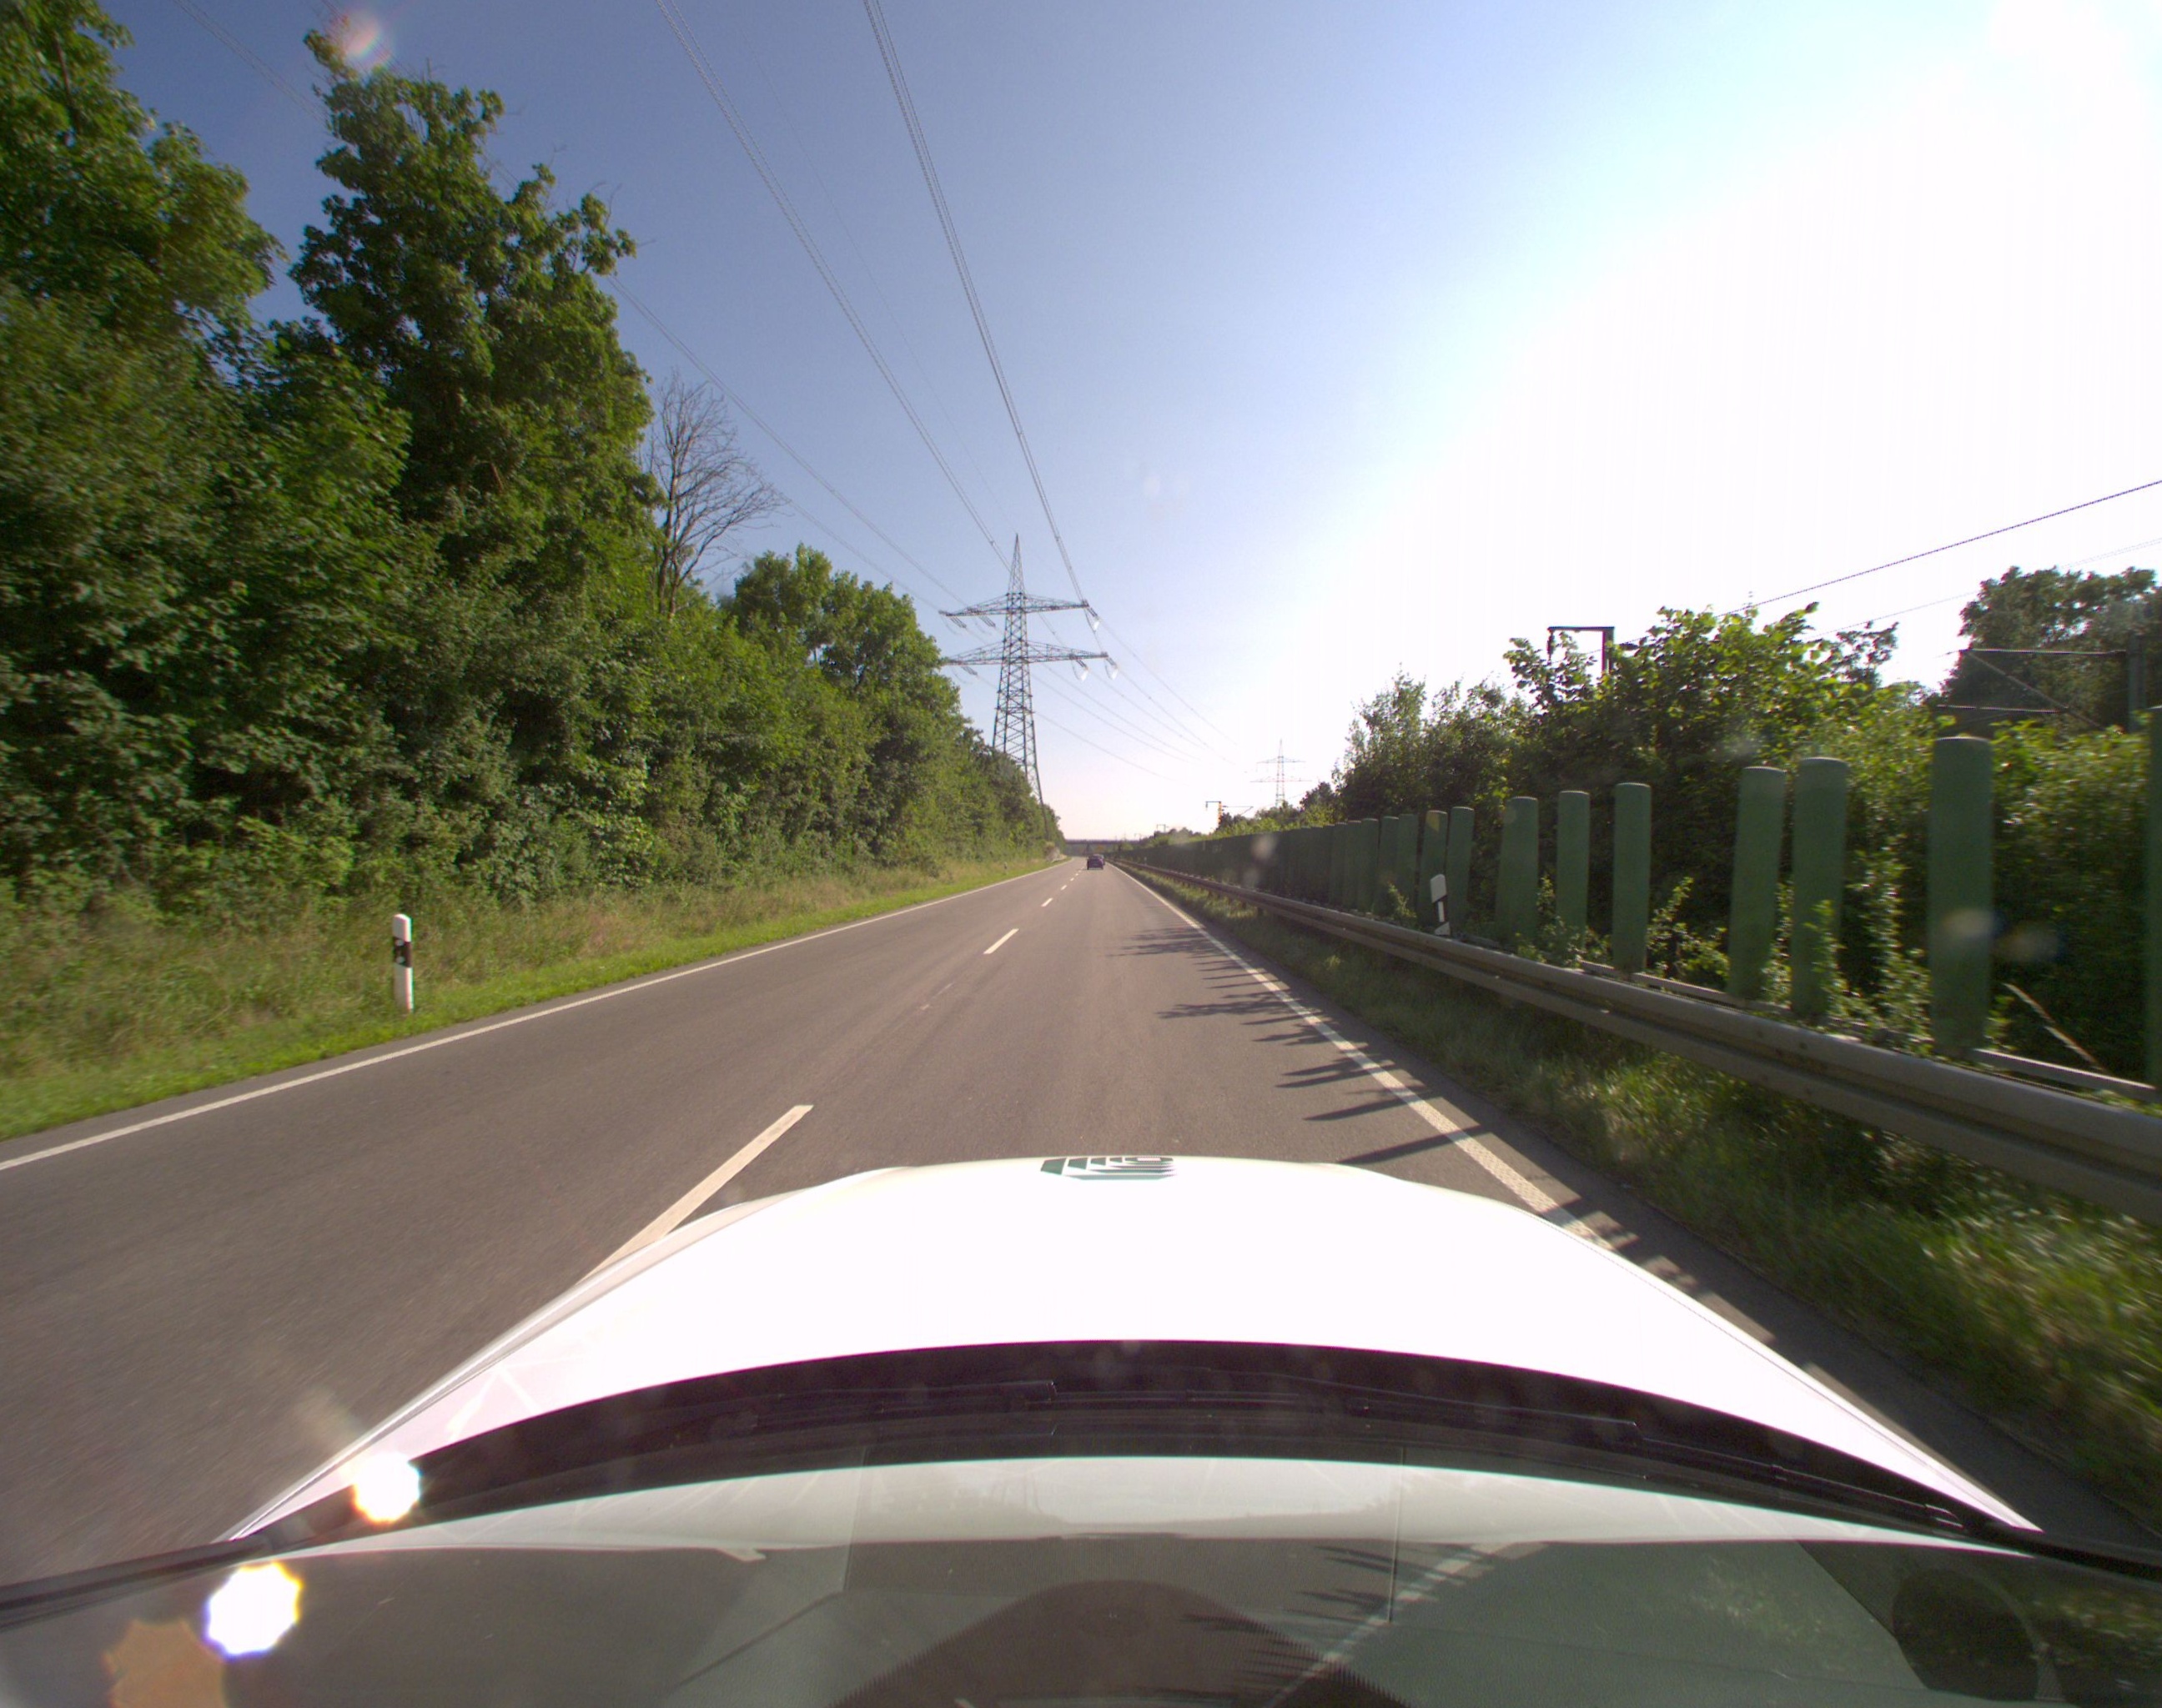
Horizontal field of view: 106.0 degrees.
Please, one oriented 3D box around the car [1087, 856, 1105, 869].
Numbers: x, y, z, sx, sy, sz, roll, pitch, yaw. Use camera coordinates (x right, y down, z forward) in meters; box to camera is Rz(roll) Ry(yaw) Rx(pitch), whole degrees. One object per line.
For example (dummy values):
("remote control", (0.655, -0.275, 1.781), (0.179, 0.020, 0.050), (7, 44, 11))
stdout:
("car", (1.491, 0.896, 83.075), (1.659, 1.261, 3.997), (0, 0, -2))
